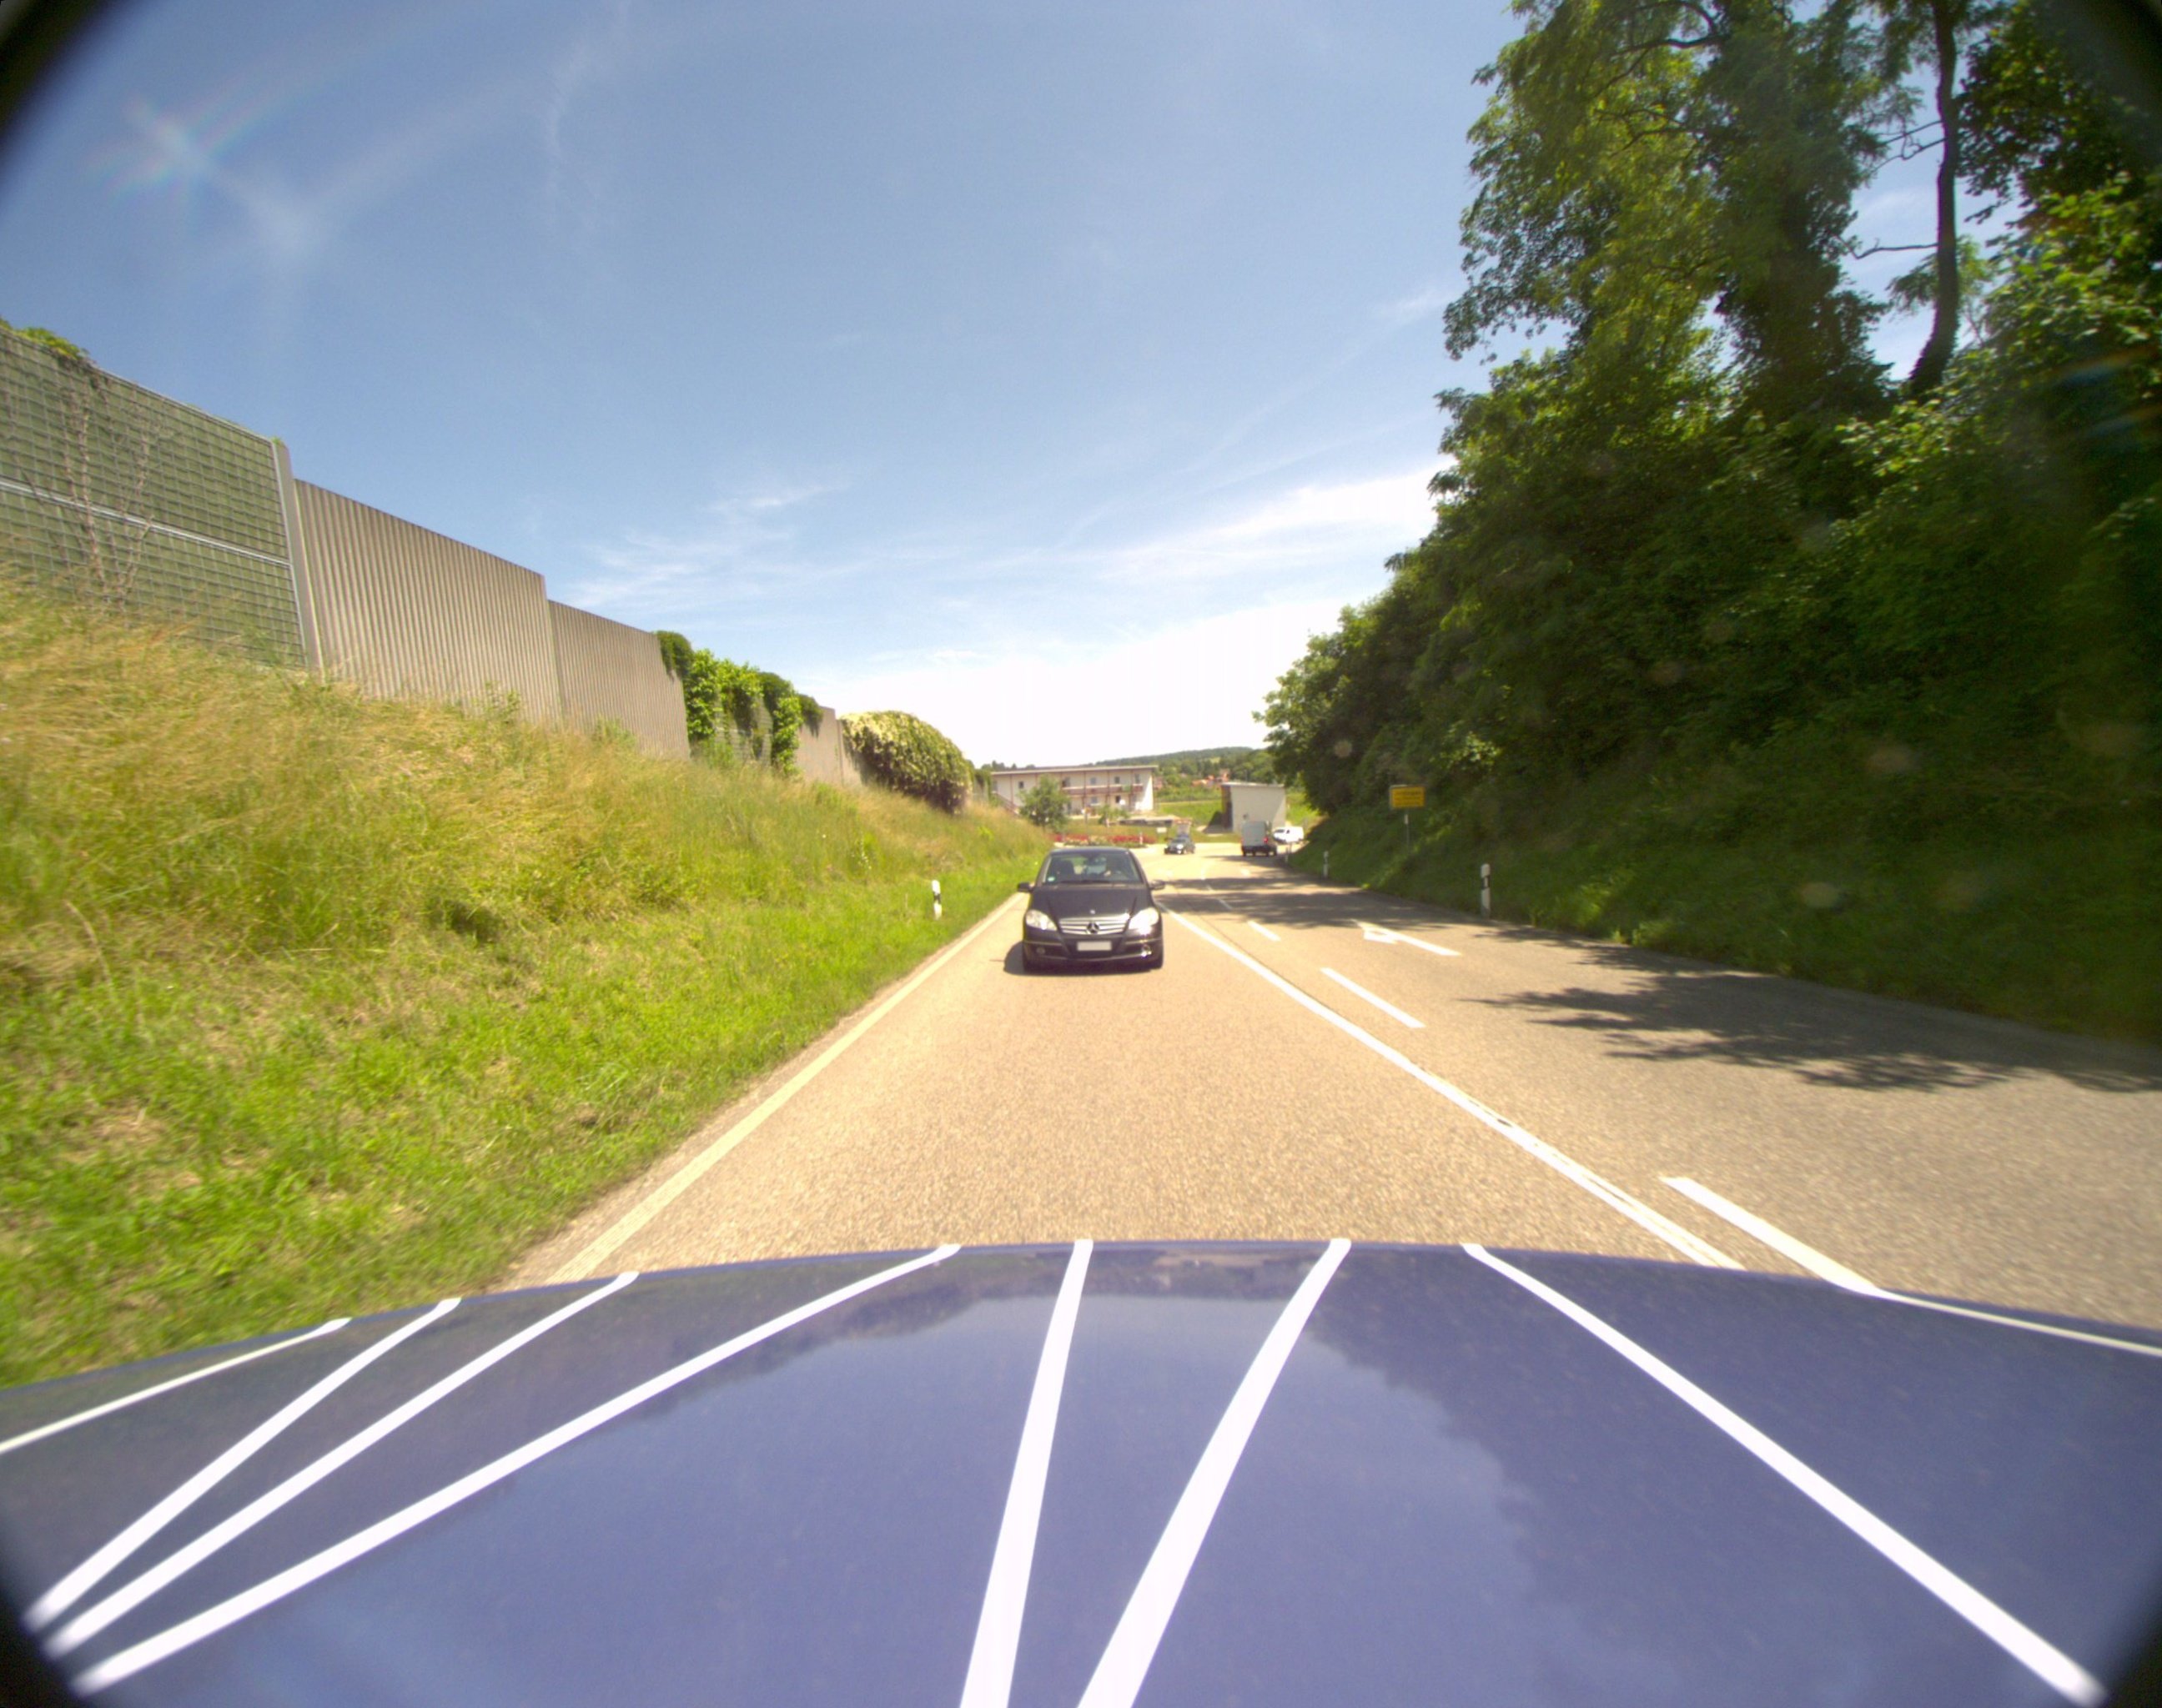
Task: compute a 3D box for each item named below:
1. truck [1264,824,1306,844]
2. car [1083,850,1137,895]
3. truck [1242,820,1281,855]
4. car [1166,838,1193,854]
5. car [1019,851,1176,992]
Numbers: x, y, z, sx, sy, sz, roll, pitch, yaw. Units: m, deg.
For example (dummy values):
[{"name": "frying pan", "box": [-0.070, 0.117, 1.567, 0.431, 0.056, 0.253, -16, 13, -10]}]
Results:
[{"name": "truck", "box": [23.251, -2.286, 86.329, 5.253, 2.002, 2.067, -5, 3, -43]}, {"name": "car", "box": [1.032, 0.577, 25.650, 1.647, 1.315, 3.438, -1, 2, 5]}, {"name": "truck", "box": [14.461, -1.331, 60.638, 2.054, 2.672, 5.989, 1, 2, 23]}, {"name": "car", "box": [8.516, -0.731, 65.226, 1.753, 1.281, 4.149, 0, 2, 15]}, {"name": "car", "box": [0.265, 0.793, 10.856, 1.795, 1.570, 3.800, -2, 1, 2]}]
